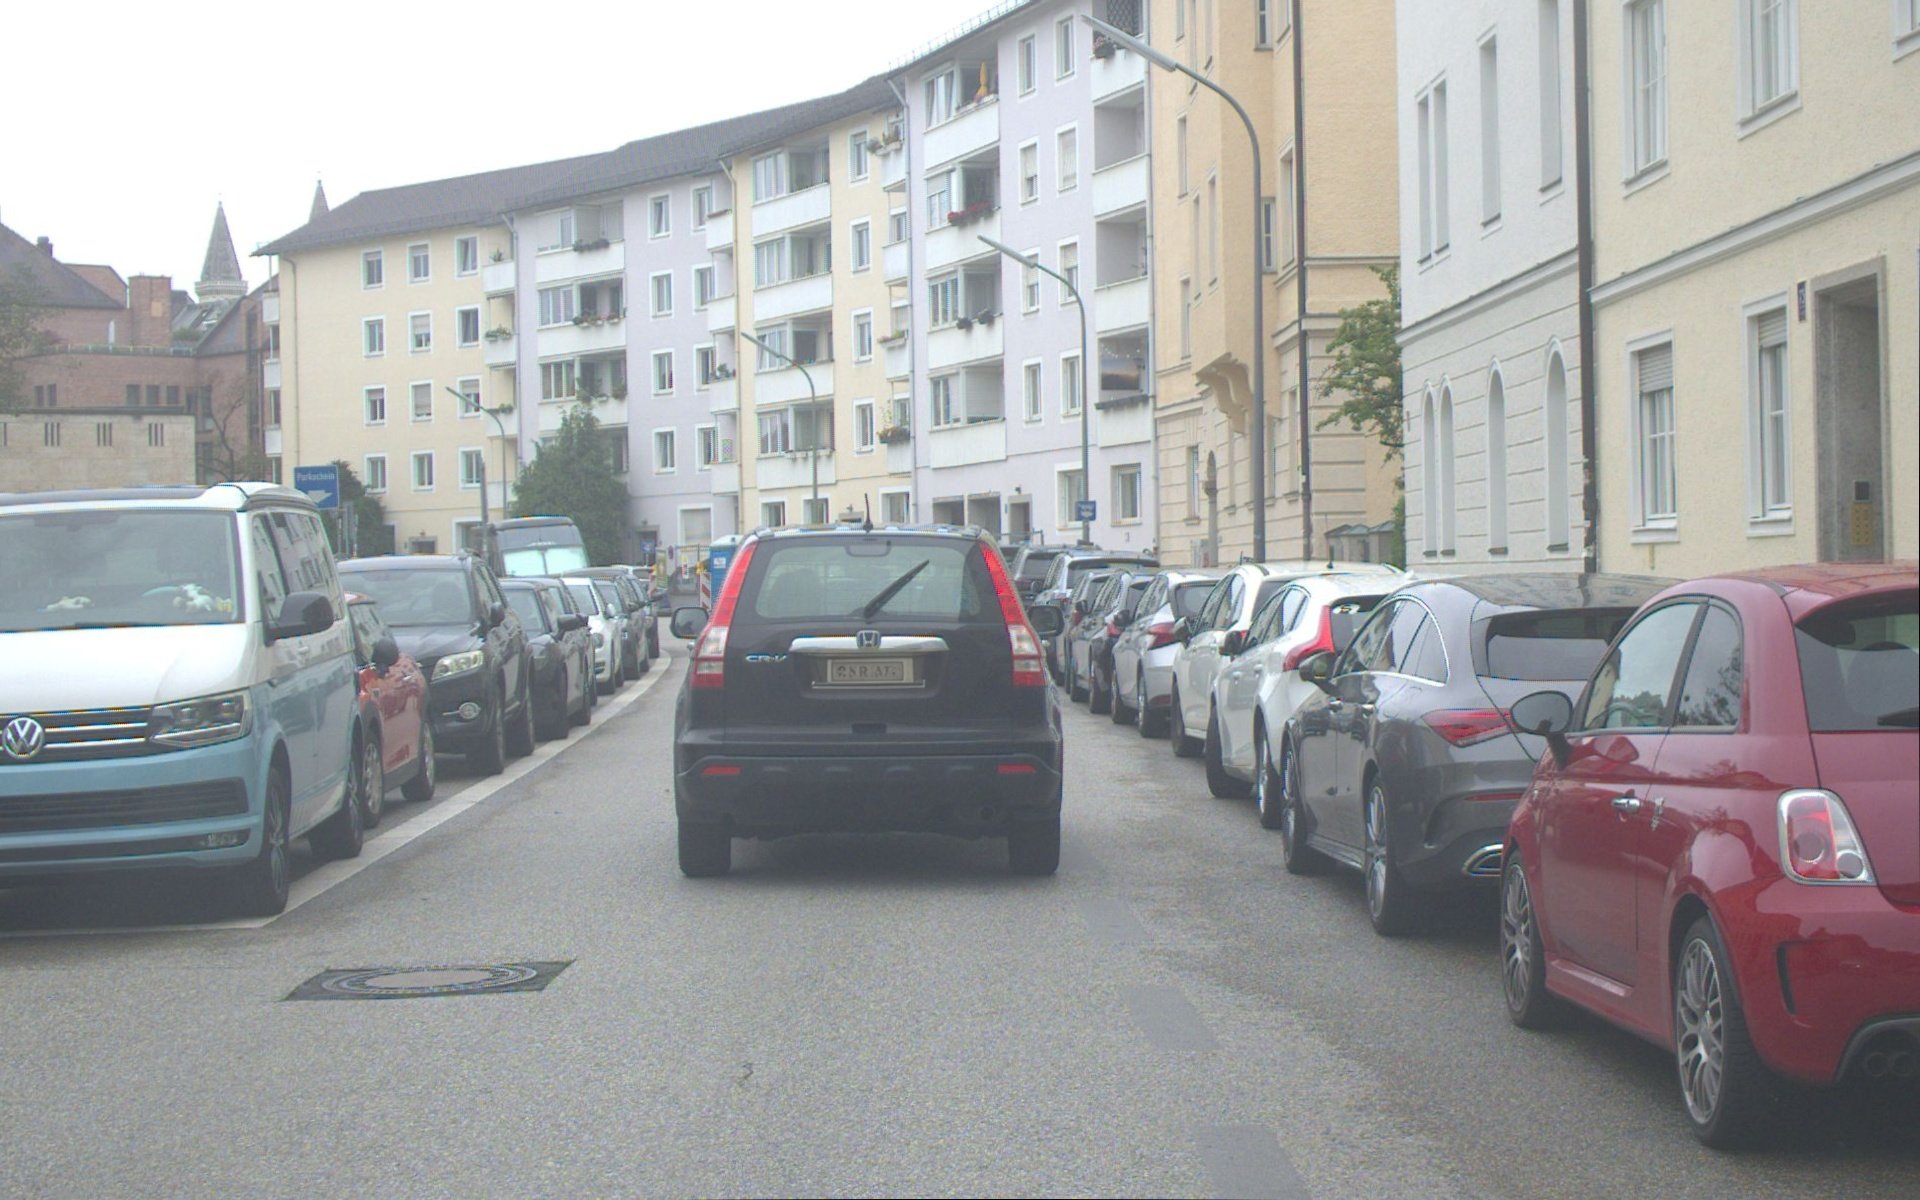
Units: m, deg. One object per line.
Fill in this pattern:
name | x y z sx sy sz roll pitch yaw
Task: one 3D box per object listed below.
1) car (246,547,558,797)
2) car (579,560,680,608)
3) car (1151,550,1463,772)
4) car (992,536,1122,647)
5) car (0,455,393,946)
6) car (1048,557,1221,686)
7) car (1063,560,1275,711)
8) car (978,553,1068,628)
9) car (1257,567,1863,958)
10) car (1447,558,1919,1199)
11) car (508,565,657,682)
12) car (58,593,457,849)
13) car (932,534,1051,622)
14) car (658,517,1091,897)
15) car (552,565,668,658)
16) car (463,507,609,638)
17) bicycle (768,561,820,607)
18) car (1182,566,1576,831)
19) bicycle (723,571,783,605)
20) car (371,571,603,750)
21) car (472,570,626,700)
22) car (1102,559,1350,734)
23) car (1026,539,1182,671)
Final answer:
car | -4.267 0.489 26.924 1.743 1.660 4.449 -5 1 -2
car | -10.531 -0.504 109.216 1.724 1.478 4.000 -1 1 -29
car | 2.486 0.397 25.538 1.679 1.476 4.167 -1 1 -3
car | 1.525 -0.152 55.689 1.869 1.711 4.866 0 1 -1
car | -4.011 0.409 16.634 1.928 1.972 5.023 -3 1 -4
car | 2.014 0.222 40.699 1.679 1.422 4.087 -1 1 -2
car | 2.086 0.321 35.358 1.679 1.422 4.391 -1 1 -3
car | 1.218 -0.199 67.839 1.708 1.442 3.830 0 1 0
car | 2.404 0.576 14.872 1.679 1.405 4.422 -1 1 -2
car | 2.598 0.635 9.961 1.679 1.492 3.824 -1 1 -2
car | -5.217 0.295 47.989 1.755 1.448 4.396 -3 1 -3
car | -4.254 0.678 21.380 1.743 1.382 3.918 -1 1 -1
car | 0.633 -0.470 72.666 1.777 1.800 4.277 0 1 -10
car | -0.532 0.455 17.241 1.890 1.642 3.992 -1 1 -5
car | -5.899 0.160 57.867 1.799 1.401 4.456 -3 1 -6
car | -9.196 -0.605 74.084 2.163 2.632 6.019 -3 1 -15
bicycle | -5.045 -0.492 104.510 0.968 1.384 2.564 -1 1 -17
car | 2.419 0.513 20.889 1.679 1.405 4.443 -1 1 -2
bicycle | -6.749 -0.395 112.184 1.865 1.087 0.566 -1 0 -23
car | -4.341 0.513 32.039 1.680 1.448 3.870 -3 1 -2
car | -5.105 0.395 43.115 1.656 1.448 4.074 -3 1 -4
car | 2.310 0.371 30.780 1.679 1.422 4.167 -1 1 -3
car | 1.870 0.044 45.753 1.722 1.628 4.458 -1 1 -2
